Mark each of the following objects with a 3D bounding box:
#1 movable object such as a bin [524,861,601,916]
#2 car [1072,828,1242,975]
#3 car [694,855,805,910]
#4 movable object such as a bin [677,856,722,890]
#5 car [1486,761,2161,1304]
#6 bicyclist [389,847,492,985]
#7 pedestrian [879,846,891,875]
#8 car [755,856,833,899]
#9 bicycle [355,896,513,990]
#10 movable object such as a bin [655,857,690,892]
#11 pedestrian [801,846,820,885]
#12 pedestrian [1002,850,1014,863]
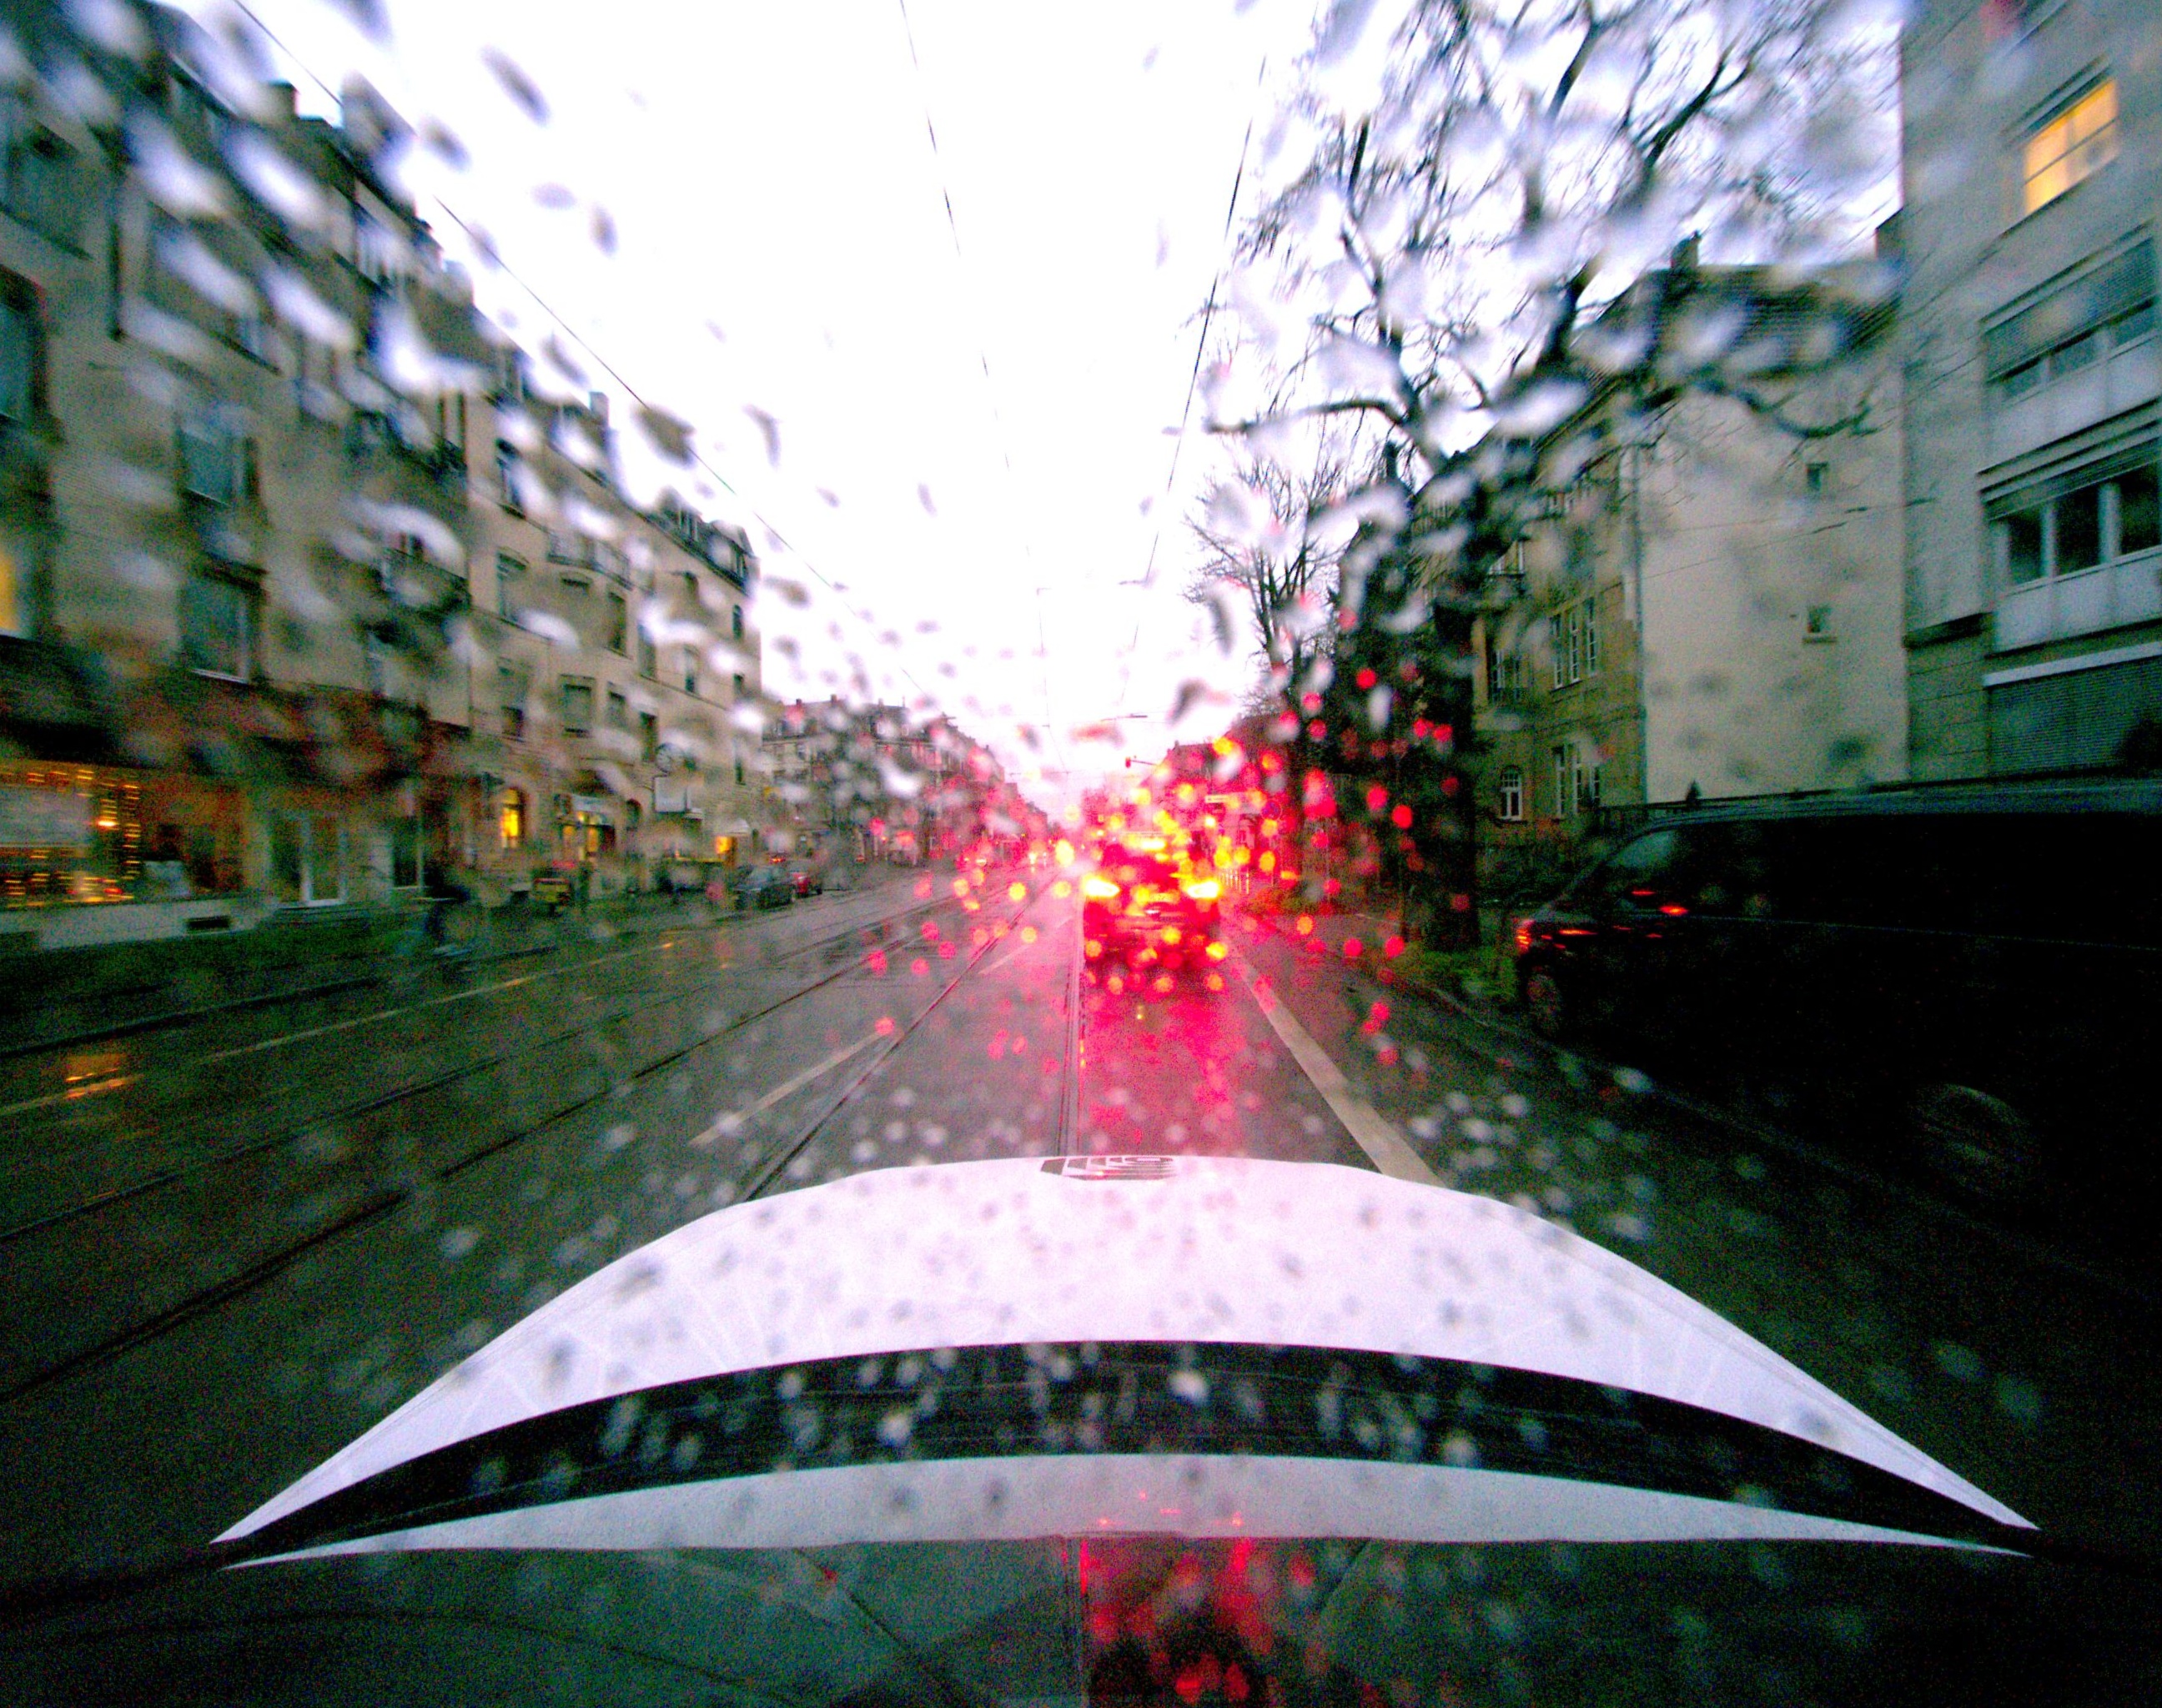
[{"bbox_3d":[-14.091,0.913,22.174,1.263,1.420,1.250,-1,0,1],"label":"movable object such as a bin"},{"bbox_3d":[1.048,0.571,12.487,2.095,1.816,4.663,1,0,2],"label":"car"},{"bbox_3d":[-11.297,0.920,28.185,1.981,1.645,4.627,4,-1,-2],"label":"car"},{"bbox_3d":[-15.993,0.782,34.174,1.289,1.367,1.252,-1,0,0],"label":"movable object such as a bin"},{"bbox_3d":[4.731,0.569,4.979,2.024,1.875,4.963,-2,0,0],"label":"car"},{"bbox_3d":[-9.128,0.848,11.646,0.621,1.876,0.992,-1,0,2],"label":"bicyclist"},{"bbox_3d":[-13.544,0.447,56.233,0.706,2.013,0.656,-1,0,-19],"label":"pedestrian"},{"bbox_3d":[-11.860,0.924,33.975,2.034,1.551,4.025,2,1,-5],"label":"car"},{"bbox_3d":[-9.124,1.217,11.603,0.621,1.092,1.949,-1,0,2],"label":"bicycle"},{"bbox_3d":[-16.482,0.808,32.893,0.896,1.377,1.006,-1,0,0],"label":"movable object such as a bin"},{"bbox_3d":[-13.938,0.588,41.960,0.748,2.014,0.652,-1,-1,36],"label":"pedestrian"},{"bbox_3d":[-6.635,0.249,73.947,1.044,1.200,0.885,-1,0,1],"label":"pedestrian"}]
